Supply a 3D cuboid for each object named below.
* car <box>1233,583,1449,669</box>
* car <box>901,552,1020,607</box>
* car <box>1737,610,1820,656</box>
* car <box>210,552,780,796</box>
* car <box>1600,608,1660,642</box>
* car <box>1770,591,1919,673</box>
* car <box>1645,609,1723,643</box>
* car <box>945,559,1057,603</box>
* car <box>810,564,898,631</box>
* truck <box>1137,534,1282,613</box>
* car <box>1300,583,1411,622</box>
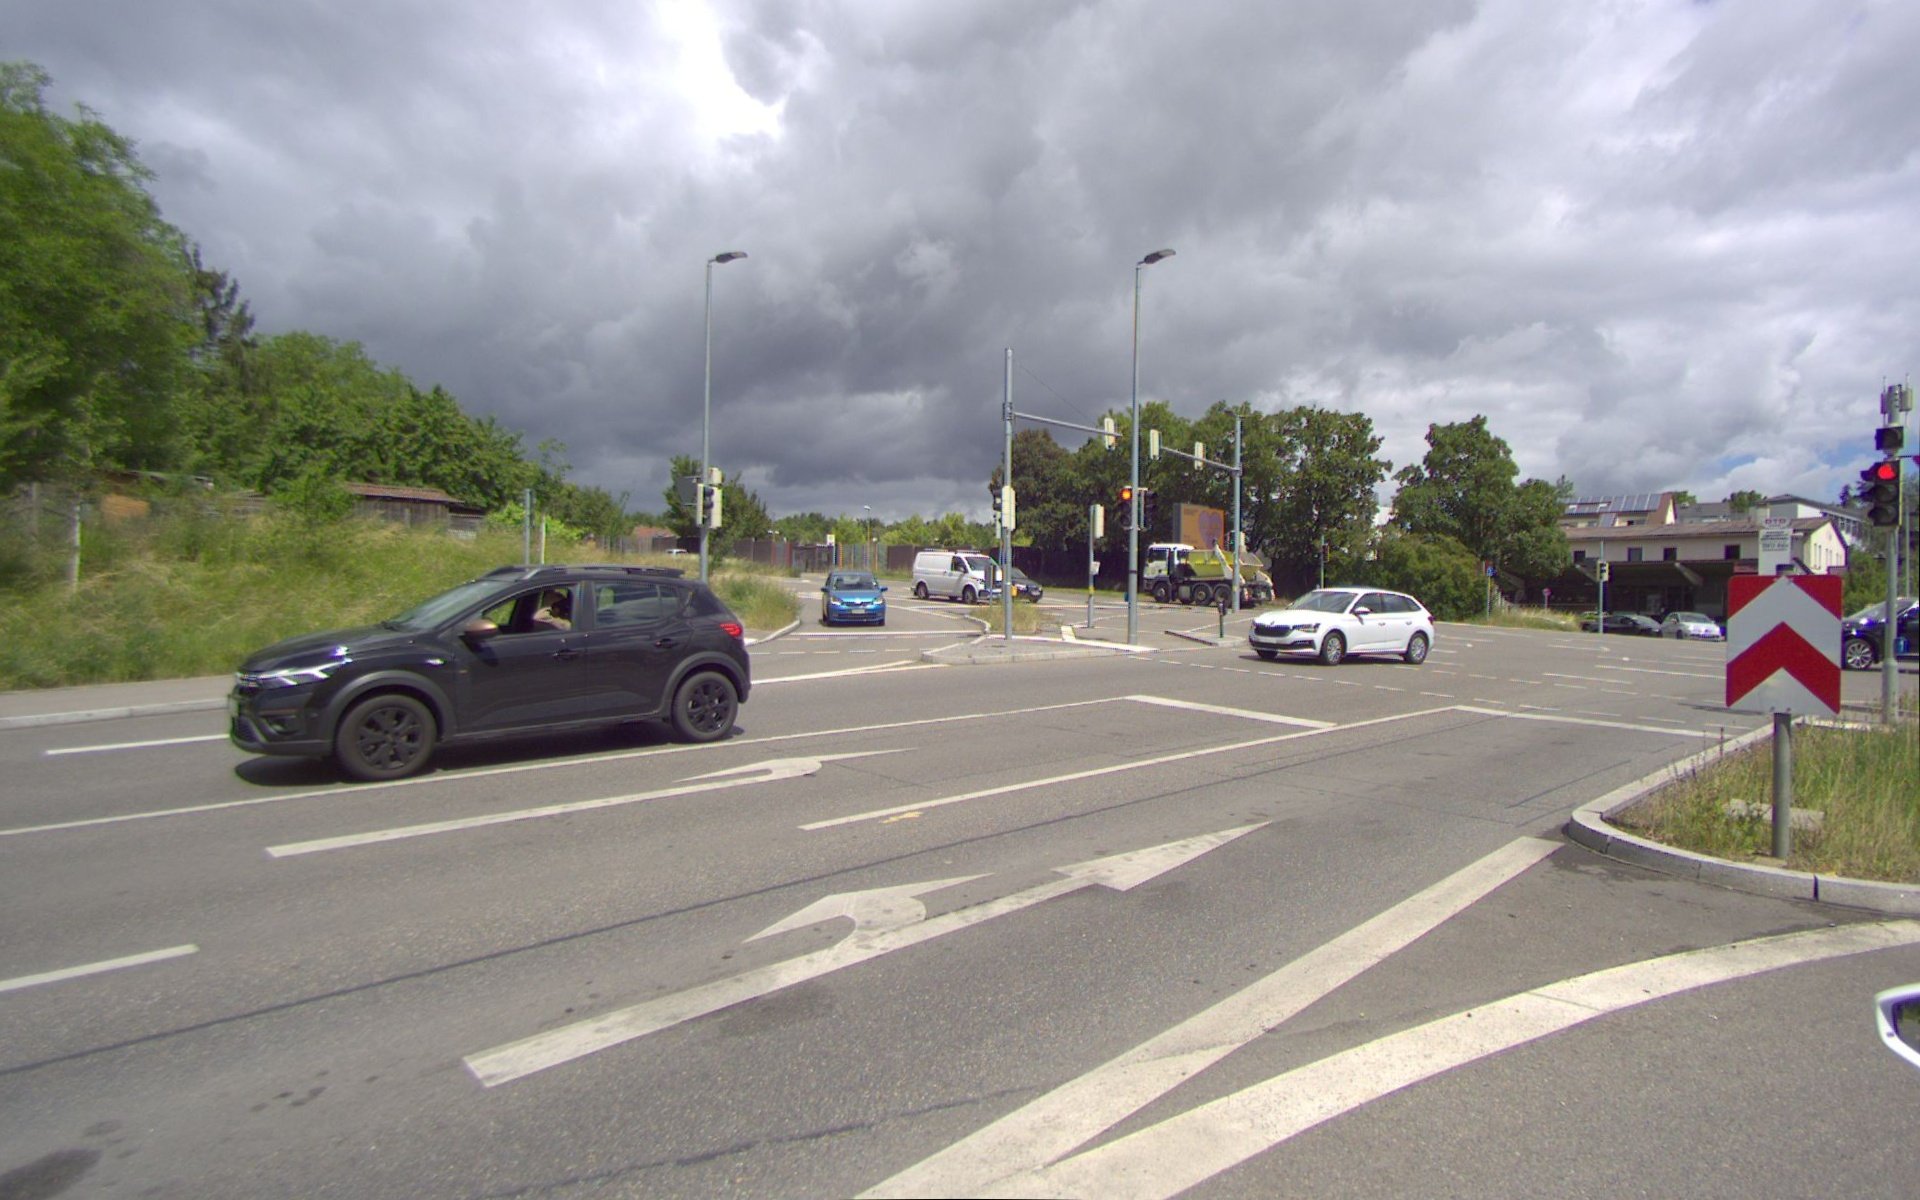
[{"bbox_3d":[7.624,0.492,19.999,4.327,1.489,1.608,1,3,-31],"label":"car"},{"bbox_3d":[-0.047,-0.870,40.348,1.897,1.963,4.908,0,3,-43],"label":"car"},{"bbox_3d":[38.130,1.543,46.909,1.962,2.040,3.998,-1,-2,24],"label":"car"},{"bbox_3d":[-3.785,0.474,8.634,4.134,1.599,1.768,0,1,-43],"label":"car"},{"bbox_3d":[37.055,1.346,55.651,1.706,1.674,3.854,2,2,18],"label":"car"},{"bbox_3d":[22.393,0.781,23.516,4.882,1.712,1.911,3,2,15],"label":"car"},{"bbox_3d":[35.162,1.215,48.881,1.662,1.419,4.001,3,1,14],"label":"car"},{"bbox_3d":[1.719,-0.846,43.322,1.897,1.657,4.908,0,3,-43],"label":"car"},{"bbox_3d":[-3.130,-0.138,28.895,1.879,1.659,4.434,2,2,-14],"label":"car"},{"bbox_3d":[12.720,-1.208,51.752,2.824,3.626,6.886,1,-2,-40],"label":"truck"},{"bbox_3d":[16.429,0.086,41.870,1.683,1.419,3.952,1,2,-40],"label":"car"}]
